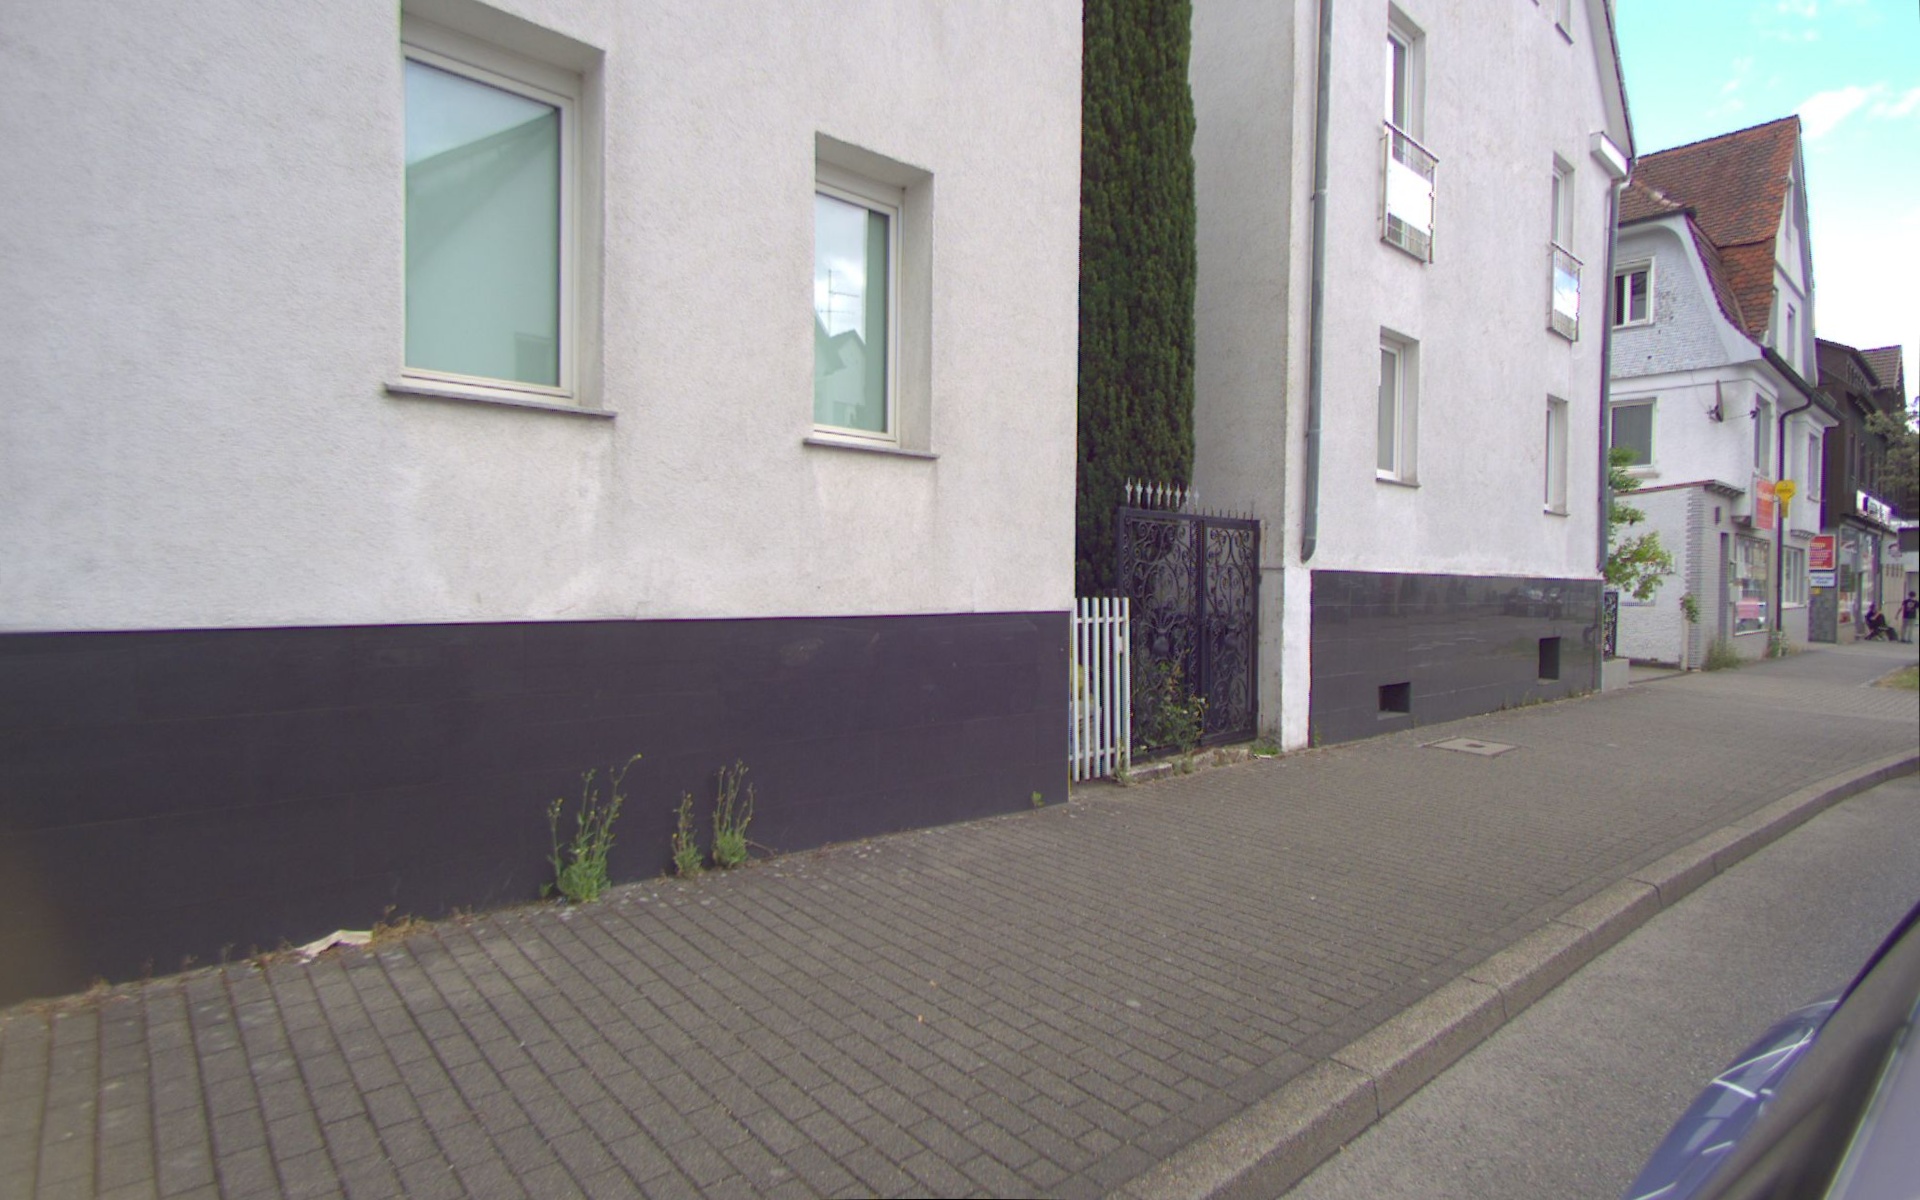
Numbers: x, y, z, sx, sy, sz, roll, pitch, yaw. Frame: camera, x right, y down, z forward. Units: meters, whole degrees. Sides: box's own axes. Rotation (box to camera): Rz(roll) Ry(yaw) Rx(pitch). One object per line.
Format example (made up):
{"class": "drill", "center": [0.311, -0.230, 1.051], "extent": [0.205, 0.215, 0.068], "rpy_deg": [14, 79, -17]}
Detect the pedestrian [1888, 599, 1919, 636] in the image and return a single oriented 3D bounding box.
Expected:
{"class": "pedestrian", "center": [32.739, 0.611, 35.089], "extent": [0.633, 1.226, 0.741], "rpy_deg": [0, 2, -42]}

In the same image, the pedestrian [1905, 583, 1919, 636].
{"class": "pedestrian", "center": [32.488, 0.323, 34.262], "extent": [0.642, 1.762, 0.731], "rpy_deg": [3, 2, 43]}

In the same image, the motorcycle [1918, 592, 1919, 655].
{"class": "motorcycle", "center": [21.723, 0.538, 21.598], "extent": [0.763, 1.399, 2.236], "rpy_deg": [0, 0, 11]}
